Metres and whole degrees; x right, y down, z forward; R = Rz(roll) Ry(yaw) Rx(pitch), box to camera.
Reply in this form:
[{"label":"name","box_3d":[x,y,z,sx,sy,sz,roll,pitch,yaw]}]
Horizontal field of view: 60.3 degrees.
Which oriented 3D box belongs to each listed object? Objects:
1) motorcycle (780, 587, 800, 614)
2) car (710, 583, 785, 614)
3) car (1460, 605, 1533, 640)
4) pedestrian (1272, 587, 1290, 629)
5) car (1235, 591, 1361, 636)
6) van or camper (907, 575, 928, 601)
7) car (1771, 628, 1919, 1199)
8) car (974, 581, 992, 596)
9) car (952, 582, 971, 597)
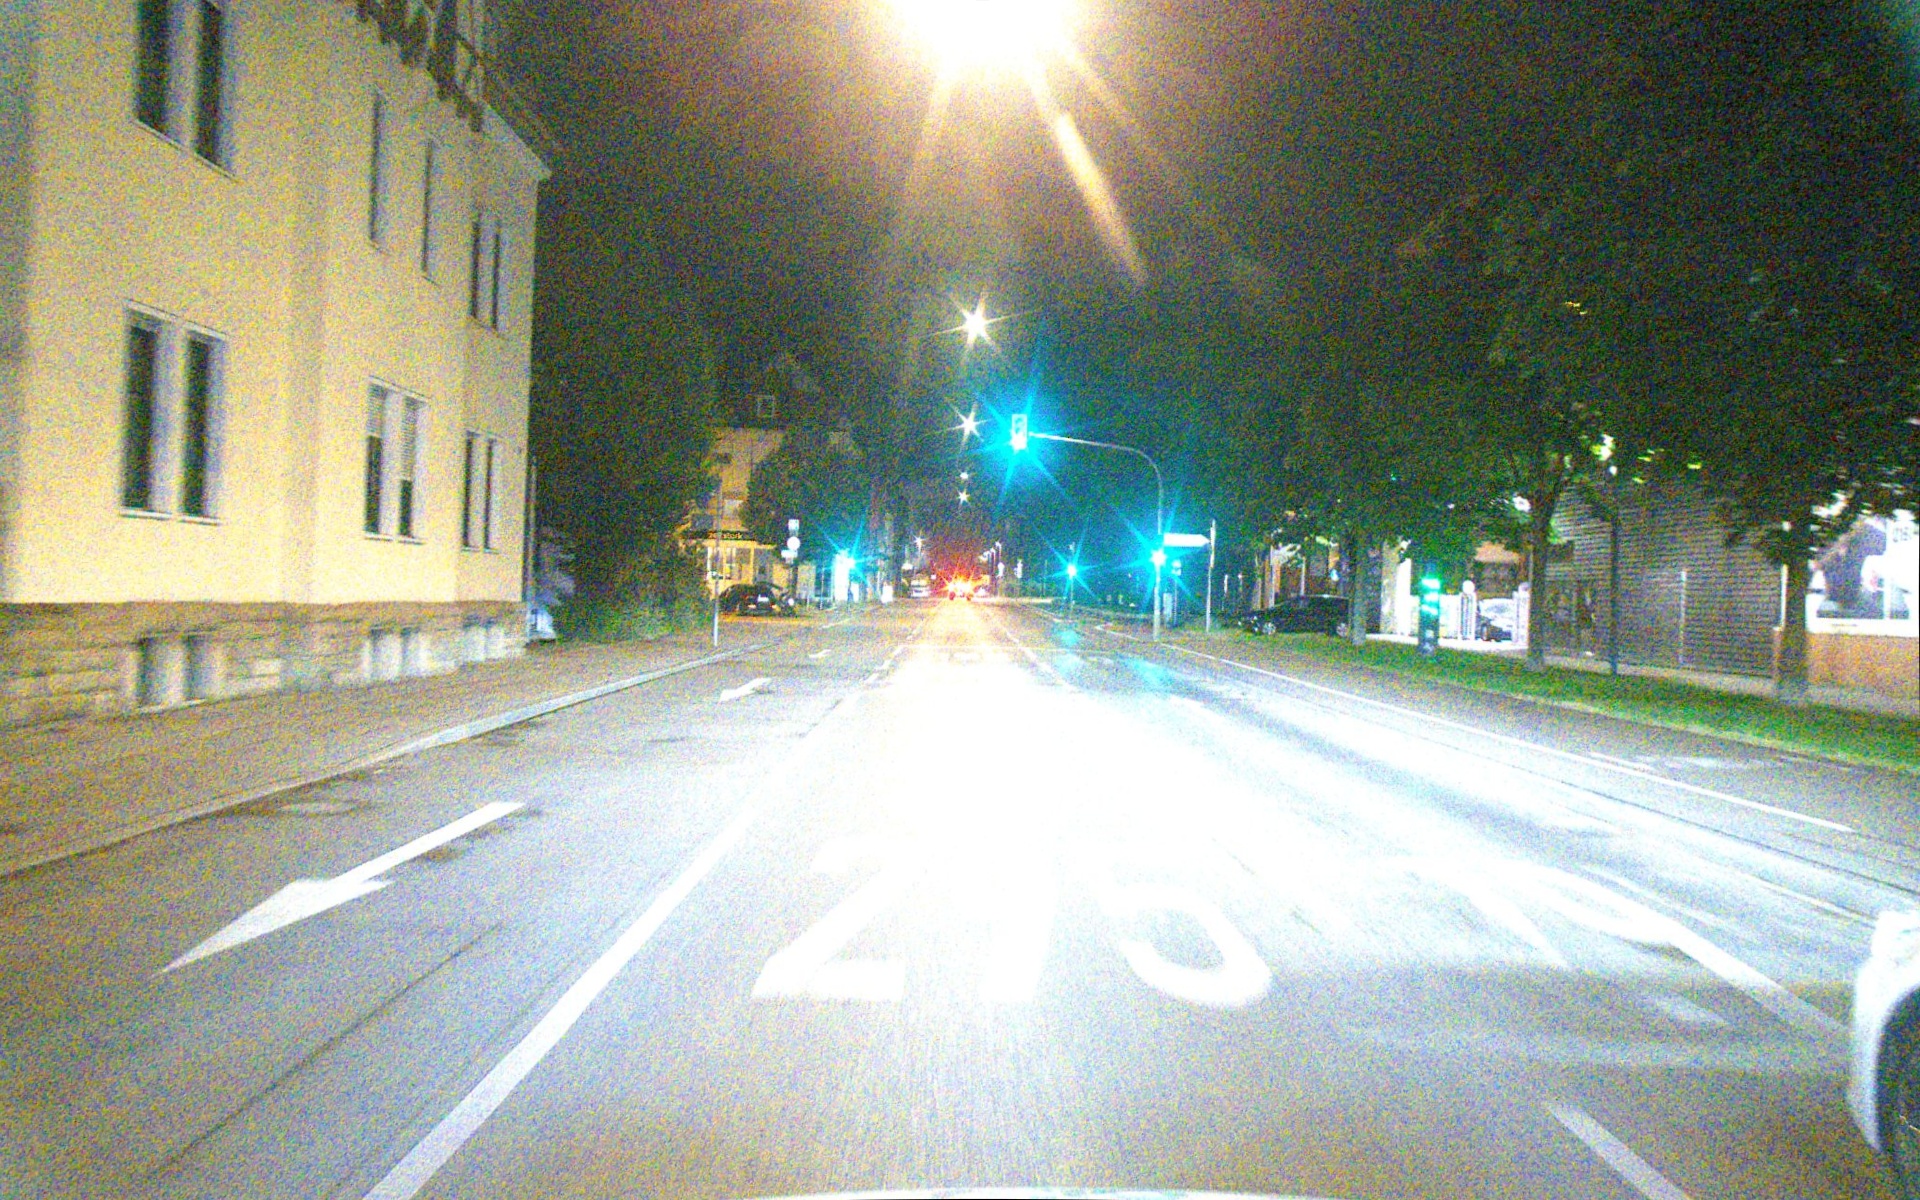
[{"label":"motorcycle","box_3d":[-7.813,0.018,75.977,0.562,1.200,2.023,1,0,-17]},{"label":"car","box_3d":[-10.225,-0.081,79.289,1.867,1.449,4.680,0,0,-31]},{"label":"car","box_3d":[19.205,0.790,59.332,1.428,1.189,3.539,2,0,-1]},{"label":"pedestrian","box_3d":[14.228,0.335,73.314,0.609,1.843,0.759,1,0,0]},{"label":"car","box_3d":[11.702,0.470,57.451,3.998,1.480,1.786,1,0,-1]},{"label":"van or camper","box_3d":[-4.451,-1.264,174.338,2.114,2.580,6.226,-1,0,-1]},{"label":"car","box_3d":[3.204,0.861,2.520,1.689,1.455,4.498,3,0,0]},{"label":"car","box_3d":[2.576,-1.273,184.753,1.845,1.631,4.108,0,0,2]},{"label":"car","box_3d":[0.152,-0.960,150.646,1.630,1.366,3.624,1,0,-2]}]
